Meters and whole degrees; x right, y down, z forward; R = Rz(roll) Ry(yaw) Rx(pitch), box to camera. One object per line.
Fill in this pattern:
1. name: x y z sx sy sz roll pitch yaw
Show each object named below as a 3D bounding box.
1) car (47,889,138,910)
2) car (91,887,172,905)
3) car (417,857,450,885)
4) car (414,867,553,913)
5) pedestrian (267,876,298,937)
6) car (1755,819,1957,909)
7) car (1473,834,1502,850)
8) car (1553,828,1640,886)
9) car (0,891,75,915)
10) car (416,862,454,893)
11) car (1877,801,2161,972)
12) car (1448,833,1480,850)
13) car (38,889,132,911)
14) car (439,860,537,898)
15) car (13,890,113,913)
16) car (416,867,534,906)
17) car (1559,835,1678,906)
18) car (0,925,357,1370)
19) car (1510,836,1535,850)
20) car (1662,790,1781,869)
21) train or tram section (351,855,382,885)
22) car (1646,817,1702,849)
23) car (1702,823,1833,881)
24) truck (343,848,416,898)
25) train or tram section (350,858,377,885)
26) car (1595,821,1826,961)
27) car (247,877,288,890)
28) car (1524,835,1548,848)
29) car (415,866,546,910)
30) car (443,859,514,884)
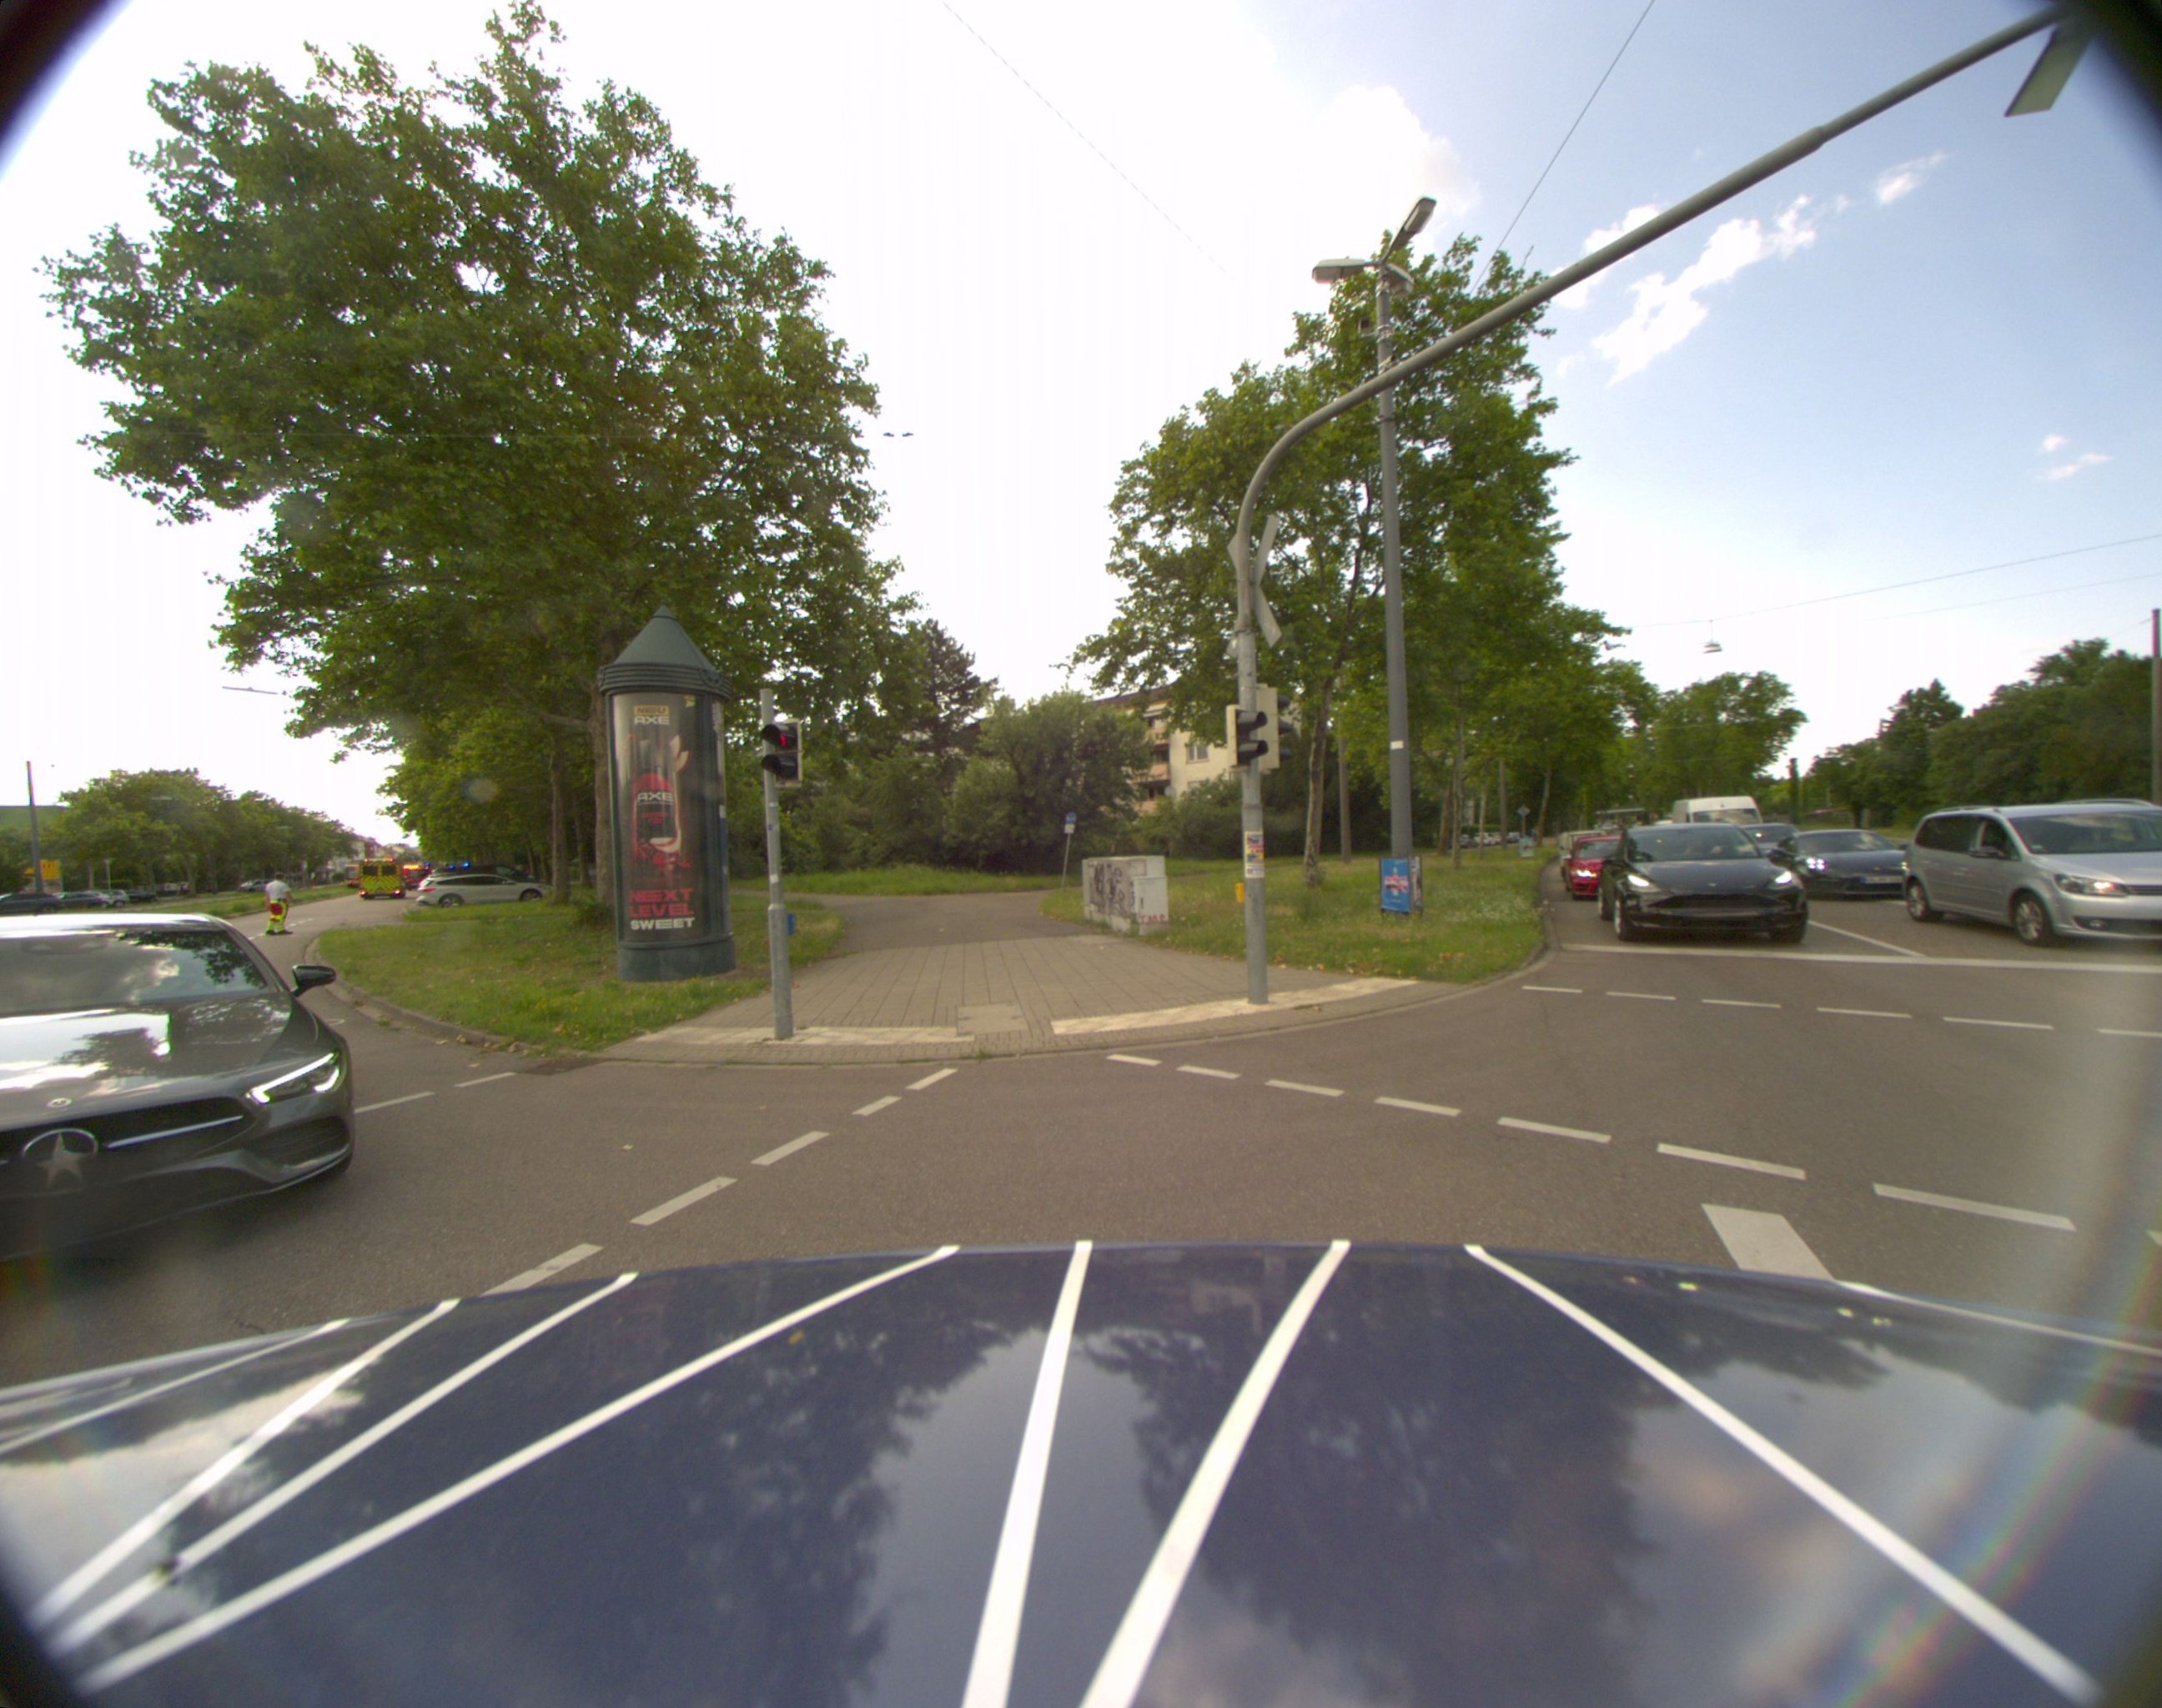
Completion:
1. car: -82.091 3.770 63.171 1.897 1.356 4.322 -2 1 29
2. car: -87.286 3.839 69.929 1.897 1.356 4.322 -2 1 29
3. car: -79.460 2.104 93.272 2.981 3.310 7.439 -1 -1 -40
4. car: -25.828 1.524 32.917 4.551 1.634 1.995 -3 0 -41
5. pedestrian: -22.506 1.472 21.416 0.495 1.674 0.586 -3 1 -41
6. car: 15.163 0.136 15.142 1.800 1.499 4.007 -4 0 31
7. car: 44.801 -1.296 83.684 3.664 1.586 1.772 -1 -1 -45
8. car: 16.078 0.047 23.894 1.798 1.560 4.509 -4 0 29
9. car: -71.437 3.349 51.018 1.897 1.356 4.322 -2 1 27
10. car: -71.167 2.583 83.740 2.981 3.297 7.439 -1 -1 -40
11. car: 12.040 0.252 9.273 1.926 1.642 4.509 -4 0 29
12. car: 38.743 -1.256 76.799 3.664 1.586 1.772 -1 -1 -45
13. car: -80.294 3.702 61.305 1.897 1.356 4.322 -2 1 29
14. car: -36.458 1.511 46.812 4.564 2.002 1.995 -3 1 -38
15. car: -78.397 3.622 58.579 1.897 1.356 4.322 -2 1 29
16. car: -30.867 1.642 38.802 4.551 1.634 1.995 -3 0 -41
17. car: 12.672 0.319 18.179 1.798 1.383 4.509 -4 0 29
18. car: -5.698 1.212 4.091 4.593 1.385 1.845 -2 -1 37
19. car: 55.217 -1.374 94.966 3.664 1.586 1.772 -1 -1 -45
20. car: 23.682 -0.910 28.388 2.222 2.515 5.943 -4 0 29
21. train or tram section: -91.442 2.042 97.176 2.500 3.576 7.401 -4 2 -45
22. car: 32.468 -1.160 41.732 1.760 1.637 4.350 -2 1 29
23. car: 19.130 -0.110 21.396 1.760 1.367 4.350 -4 0 29
24. truck: -52.163 1.358 56.696 3.199 3.298 7.503 -3 1 -38
25. train or tram section: -101.768 2.429 107.694 2.500 3.576 7.401 -4 2 -45
26. car: 9.037 0.405 11.356 1.927 1.642 4.587 -4 0 31
27. car: -127.744 4.603 119.382 1.818 1.827 4.006 -2 -1 20
28. car: 60.440 -1.611 100.905 3.664 1.586 1.772 -1 -1 -45
29. car: -27.494 1.528 34.886 4.551 1.634 1.995 -3 0 -41
30. car: -84.516 2.413 106.641 7.475 3.310 2.967 -1 -1 -44
